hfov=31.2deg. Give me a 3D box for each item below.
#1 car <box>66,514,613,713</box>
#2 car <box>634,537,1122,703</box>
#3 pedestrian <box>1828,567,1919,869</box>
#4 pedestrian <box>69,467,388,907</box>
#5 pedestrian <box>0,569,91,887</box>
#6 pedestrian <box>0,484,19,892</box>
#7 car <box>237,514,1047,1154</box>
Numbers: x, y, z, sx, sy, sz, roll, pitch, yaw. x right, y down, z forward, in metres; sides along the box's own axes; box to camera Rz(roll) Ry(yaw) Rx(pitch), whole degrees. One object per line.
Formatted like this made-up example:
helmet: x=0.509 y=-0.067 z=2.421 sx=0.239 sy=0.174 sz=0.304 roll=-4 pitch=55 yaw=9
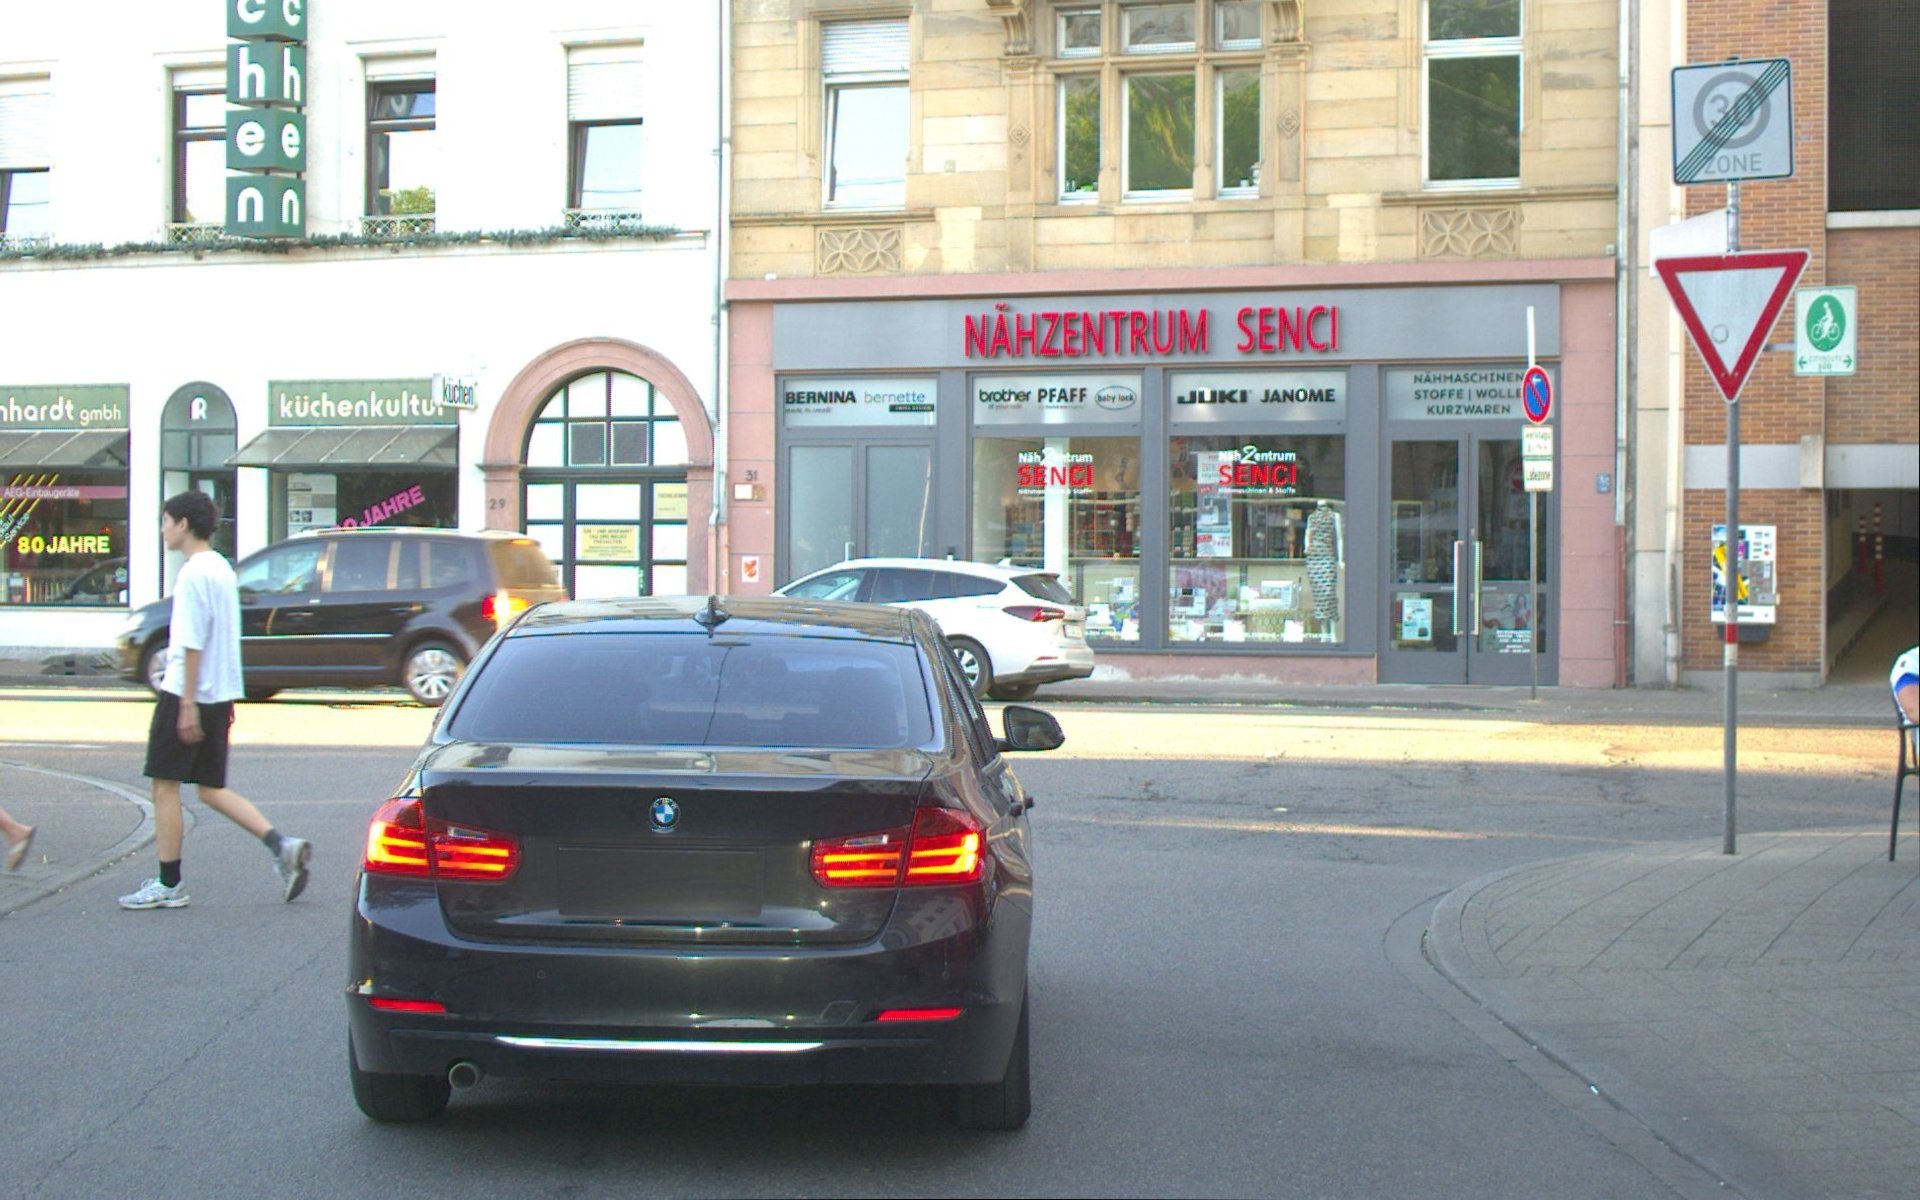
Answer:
car: x=-5.833 y=0.083 z=32.474 sx=4.605 sy=1.647 sz=2.096 roll=2 pitch=2 yaw=16
car: x=-0.851 y=0.179 z=36.116 sx=4.671 sy=1.530 sz=1.998 roll=2 pitch=1 yaw=20
pedestrian: x=4.621 y=0.534 z=15.959 sx=0.768 sy=1.377 sz=0.839 roll=0 pitch=0 yaw=-28
pedestrian: x=-3.219 y=0.361 z=15.154 sx=0.889 sy=1.847 sz=0.983 roll=2 pitch=1 yaw=37
pedestrian: x=-4.599 y=0.596 z=16.345 sx=0.714 sy=1.481 sz=0.604 roll=1 pitch=1 yaw=-32
pedestrian: x=-4.865 y=0.387 z=15.876 sx=0.779 sy=1.869 sz=0.714 roll=1 pitch=1 yaw=-32
car: x=-0.778 y=0.555 z=10.200 sx=1.888 sy=1.487 sz=4.204 roll=1 pitch=0 yaw=-1
